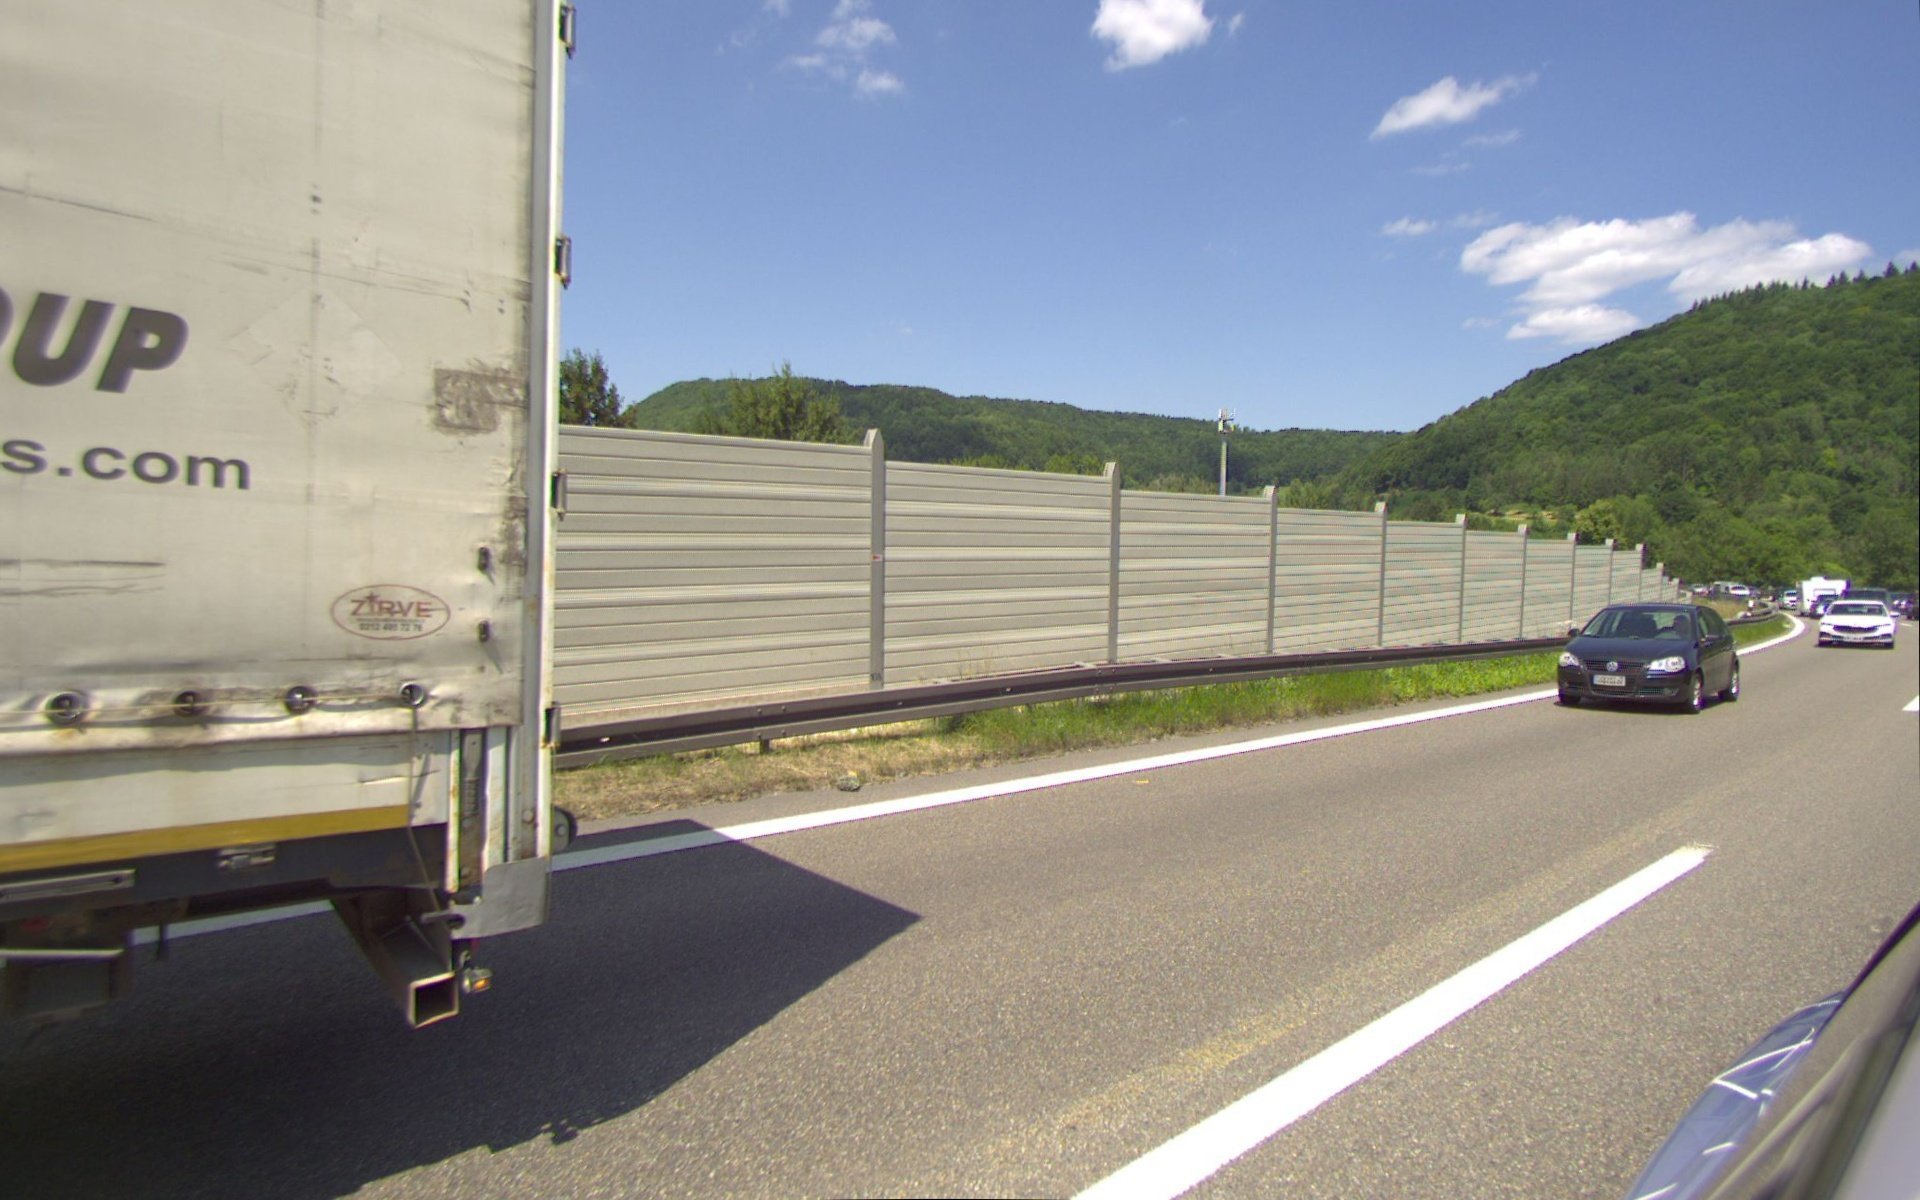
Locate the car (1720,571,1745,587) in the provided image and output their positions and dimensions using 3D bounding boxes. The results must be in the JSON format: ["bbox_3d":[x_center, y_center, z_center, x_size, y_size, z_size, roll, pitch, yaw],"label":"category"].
[{"bbox_3d":[97.636,-2.653,127.932,1.982,2.039,3.959,-1,0,29],"label":"car"}]

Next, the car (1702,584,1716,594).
[{"bbox_3d":[112.675,-1.638,152.230,1.236,1.497,2.928,-3,-1,31],"label":"car"}]

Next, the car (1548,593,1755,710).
[{"bbox_3d":[10.025,0.639,14.572,3.774,1.440,1.693,-1,0,-43],"label":"car"}]

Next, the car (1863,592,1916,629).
[{"bbox_3d":[37.845,0.400,41.272,1.484,1.400,3.682,3,2,42],"label":"car"}]

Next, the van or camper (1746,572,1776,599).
[{"bbox_3d":[94.144,-1.676,119.048,1.893,3.065,4.827,0,0,28],"label":"van or camper"}]

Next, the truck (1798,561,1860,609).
[{"bbox_3d":[60.951,-1.016,71.120,2.588,3.147,6.769,-3,-1,36],"label":"truck"}]

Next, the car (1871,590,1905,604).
[{"bbox_3d":[78.333,-0.277,85.436,1.480,1.123,3.178,-1,0,32],"label":"car"}]

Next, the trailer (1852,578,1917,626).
[{"bbox_3d":[40.298,0.079,44.194,1.992,1.994,3.941,0,0,41],"label":"trailer"}]

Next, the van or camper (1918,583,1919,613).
[{"bbox_3d":[60.028,-0.130,61.738,1.807,1.890,3.567,-1,0,36],"label":"van or camper"}]

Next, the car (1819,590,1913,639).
[{"bbox_3d":[28.324,0.480,31.607,3.660,1.449,1.903,1,-3,-44],"label":"car"}]

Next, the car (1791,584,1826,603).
[{"bbox_3d":[73.503,-0.532,87.750,1.685,1.552,3.640,-3,-1,31],"label":"car"}]
